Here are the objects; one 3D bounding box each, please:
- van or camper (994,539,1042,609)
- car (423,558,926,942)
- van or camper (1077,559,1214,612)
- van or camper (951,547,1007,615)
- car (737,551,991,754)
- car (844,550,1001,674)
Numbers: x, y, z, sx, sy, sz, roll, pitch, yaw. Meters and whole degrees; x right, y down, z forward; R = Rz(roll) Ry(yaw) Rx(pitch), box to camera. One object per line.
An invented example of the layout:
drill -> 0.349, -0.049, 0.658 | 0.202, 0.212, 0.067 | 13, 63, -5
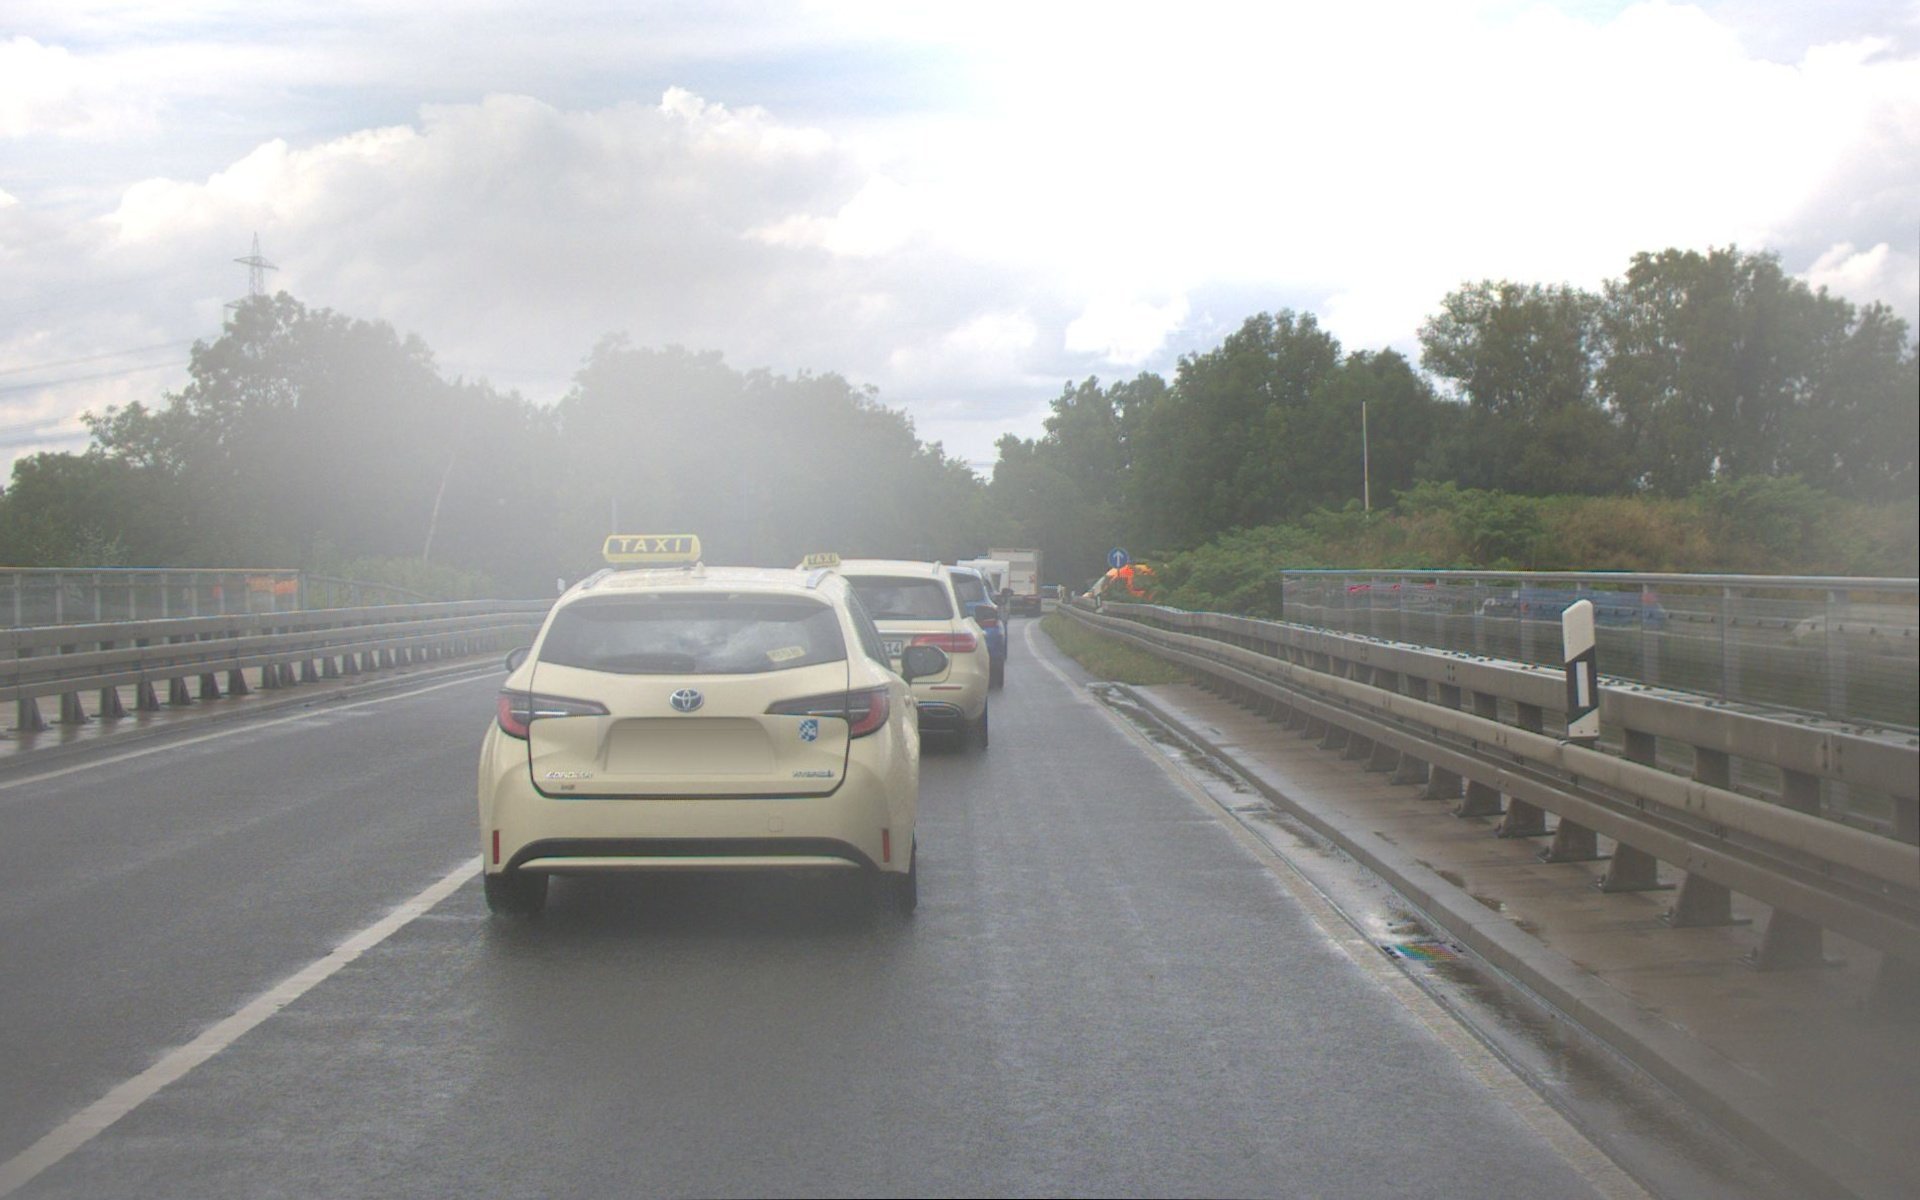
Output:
van or camper -> 3.017, -1.355, 179.044 | 2.332, 3.550, 6.307 | 1, 1, 0
car -> -1.102, 0.542, 15.085 | 1.854, 1.389, 4.171 | 1, 1, 0
van or camper -> 8.163, -0.643, 151.284 | 5.676, 2.234, 2.021 | 1, 1, -14
van or camper -> 0.807, -0.849, 150.380 | 2.332, 2.854, 6.307 | 1, 1, 0
car -> -0.714, 0.357, 27.459 | 1.854, 1.438, 4.171 | 1, 1, 0
car -> -0.452, 0.113, 43.232 | 1.854, 1.438, 4.171 | 1, 1, 0
